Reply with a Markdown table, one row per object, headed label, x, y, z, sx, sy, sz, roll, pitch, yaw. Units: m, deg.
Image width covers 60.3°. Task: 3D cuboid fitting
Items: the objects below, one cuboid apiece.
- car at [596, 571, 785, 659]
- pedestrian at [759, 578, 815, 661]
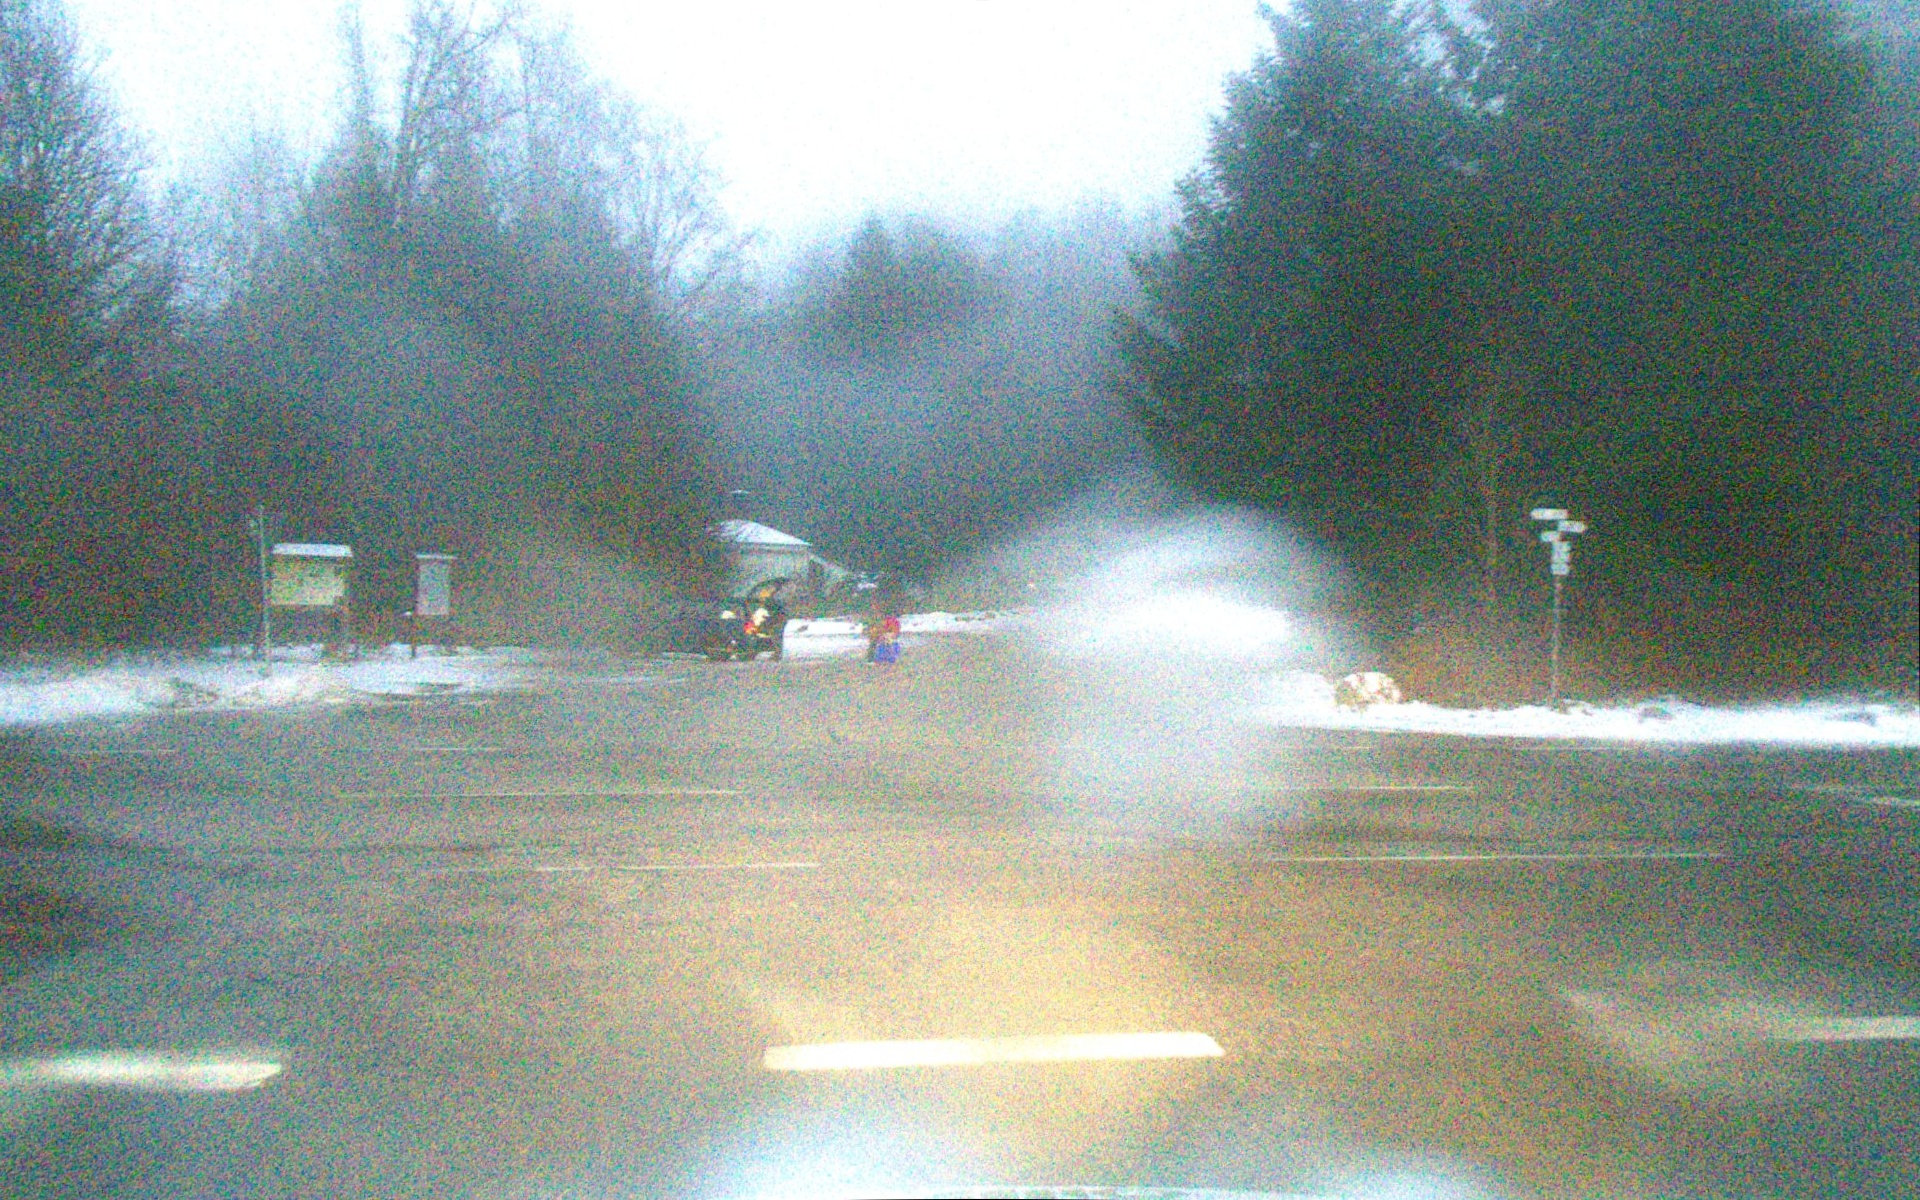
| label | x | y | z | sx | sy | sz | roll | pitch | yaw |
| --- | --- | --- | --- | --- | --- | --- | --- | --- | --- |
| car | -6.265 | 0.354 | 38.679 | 3.863 | 1.914 | 2.001 | 1 | -1 | 12 |
| pedestrian | -3.954 | 0.450 | 37.836 | 0.940 | 1.860 | 0.925 | 1 | -1 | 16 |
